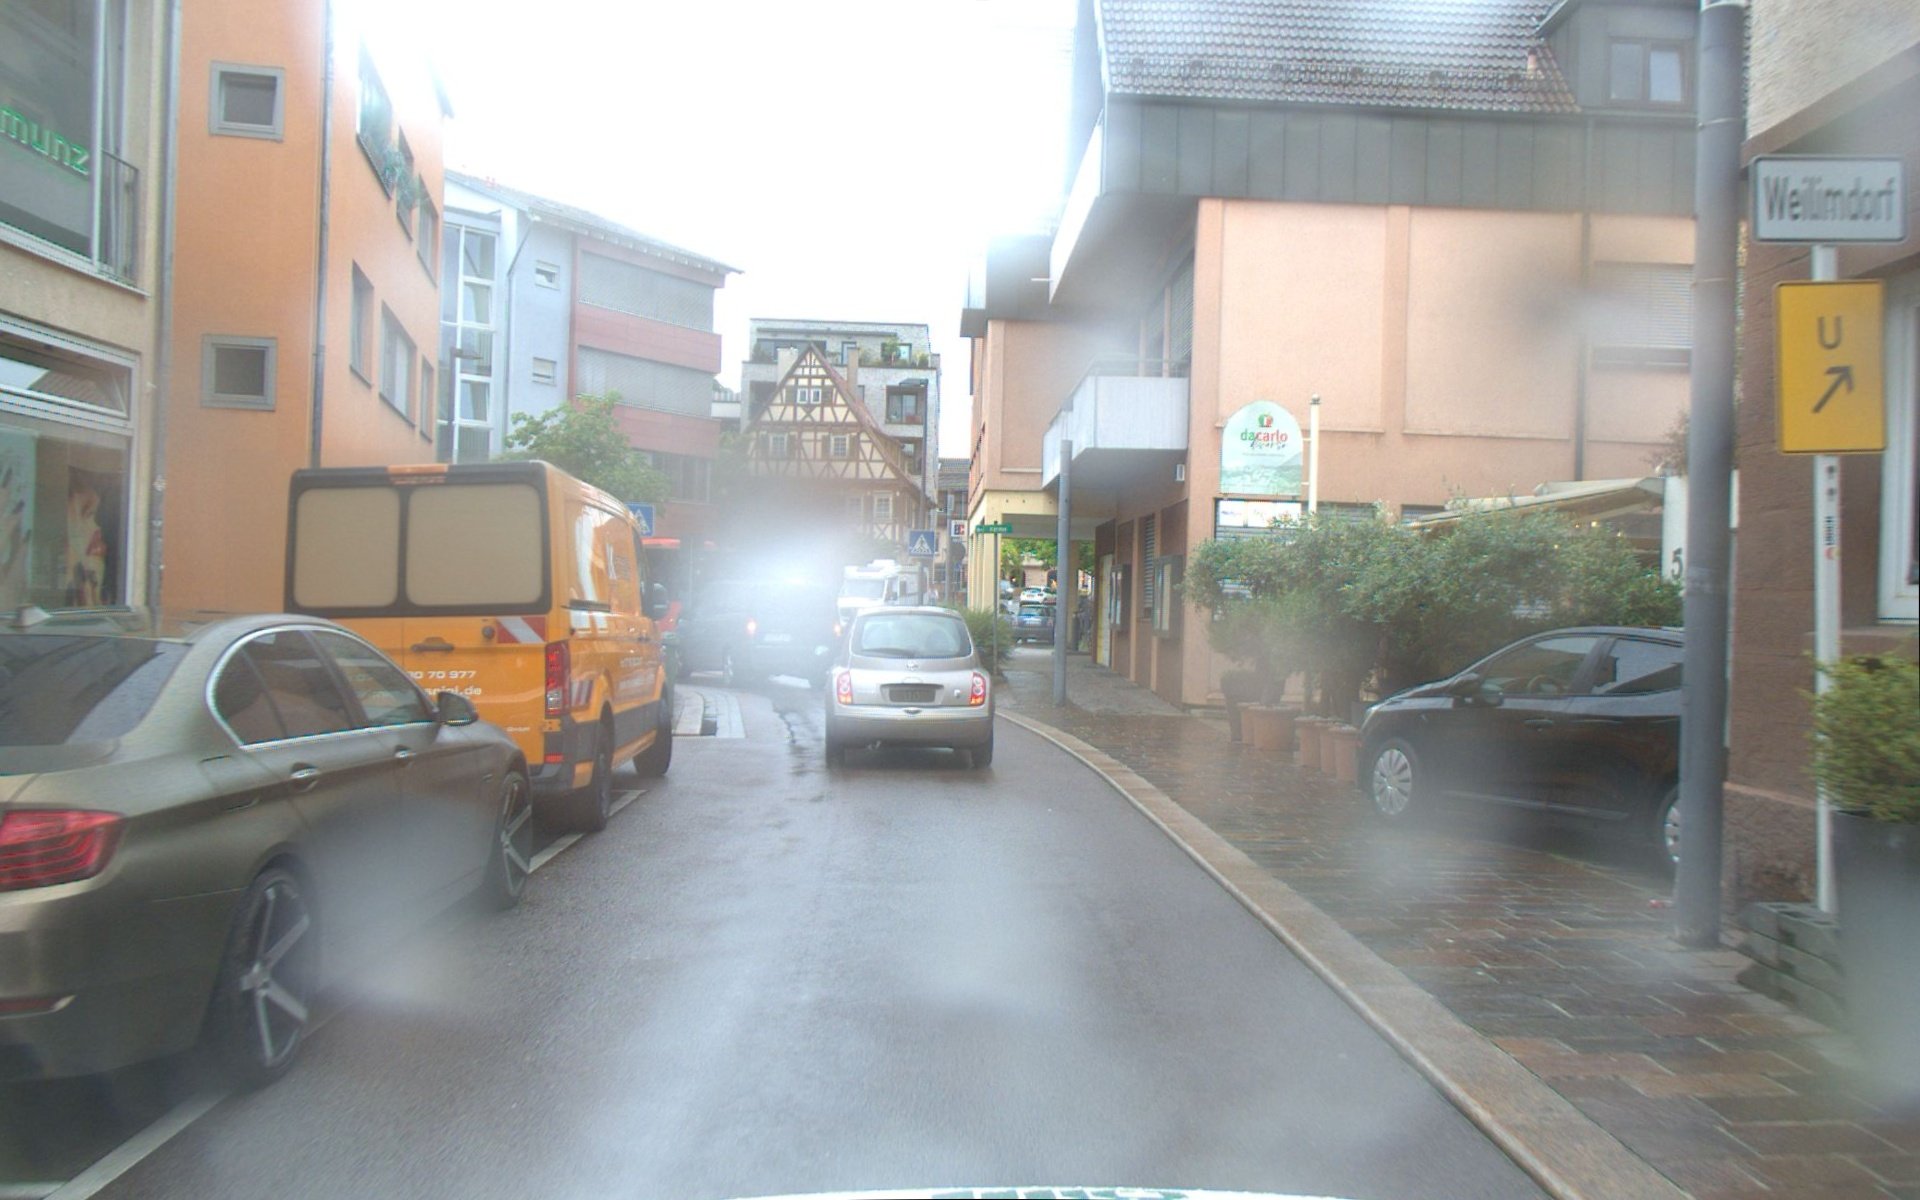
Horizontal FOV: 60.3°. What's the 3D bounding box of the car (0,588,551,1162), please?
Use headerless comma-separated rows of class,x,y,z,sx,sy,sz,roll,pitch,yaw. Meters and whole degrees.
car,-2.966,0.678,6.229,1.720,1.380,4.481,1,-1,0

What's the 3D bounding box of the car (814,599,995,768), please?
car,-0.650,0.768,16.859,1.493,1.496,3.336,2,0,-7

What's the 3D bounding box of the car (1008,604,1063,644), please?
car,2.832,0.859,61.483,1.504,1.386,3.376,2,0,11

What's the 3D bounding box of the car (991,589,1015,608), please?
car,3.505,-0.123,134.982,1.857,1.534,3.910,1,0,1

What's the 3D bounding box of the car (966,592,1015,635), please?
car,1.245,0.532,65.930,1.857,1.601,4.001,1,0,2

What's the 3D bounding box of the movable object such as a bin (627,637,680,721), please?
movable object such as a bin,-3.970,1.023,21.429,0.645,1.055,0.608,1,-1,-12

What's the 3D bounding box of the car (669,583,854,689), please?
car,-3.777,0.630,30.692,1.923,1.812,4.685,2,-1,-27

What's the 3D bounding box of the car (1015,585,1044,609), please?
car,4.664,-0.199,112.171,1.857,1.534,3.910,1,0,1

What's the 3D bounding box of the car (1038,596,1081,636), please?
car,4.018,0.613,66.406,1.590,1.527,4.002,-2,0,4

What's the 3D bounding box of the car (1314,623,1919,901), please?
car,4.206,0.883,10.767,1.711,1.381,3.905,1,0,-25

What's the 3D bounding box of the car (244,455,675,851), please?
car,-3.398,0.328,12.535,1.955,2.279,5.854,1,0,-5

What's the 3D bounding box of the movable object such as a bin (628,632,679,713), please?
movable object such as a bin,-4.120,0.963,22.218,0.645,1.055,0.608,1,0,-12

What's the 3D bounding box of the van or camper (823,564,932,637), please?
van or camper,-3.136,0.032,64.815,2.386,2.631,6.756,2,0,13

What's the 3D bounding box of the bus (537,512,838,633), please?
bus,-7.701,-0.726,48.913,2.760,3.142,10.590,3,1,29

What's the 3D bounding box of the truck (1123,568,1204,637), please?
truck,5.686,0.074,46.634,1.727,1.840,3.999,1,0,-1
